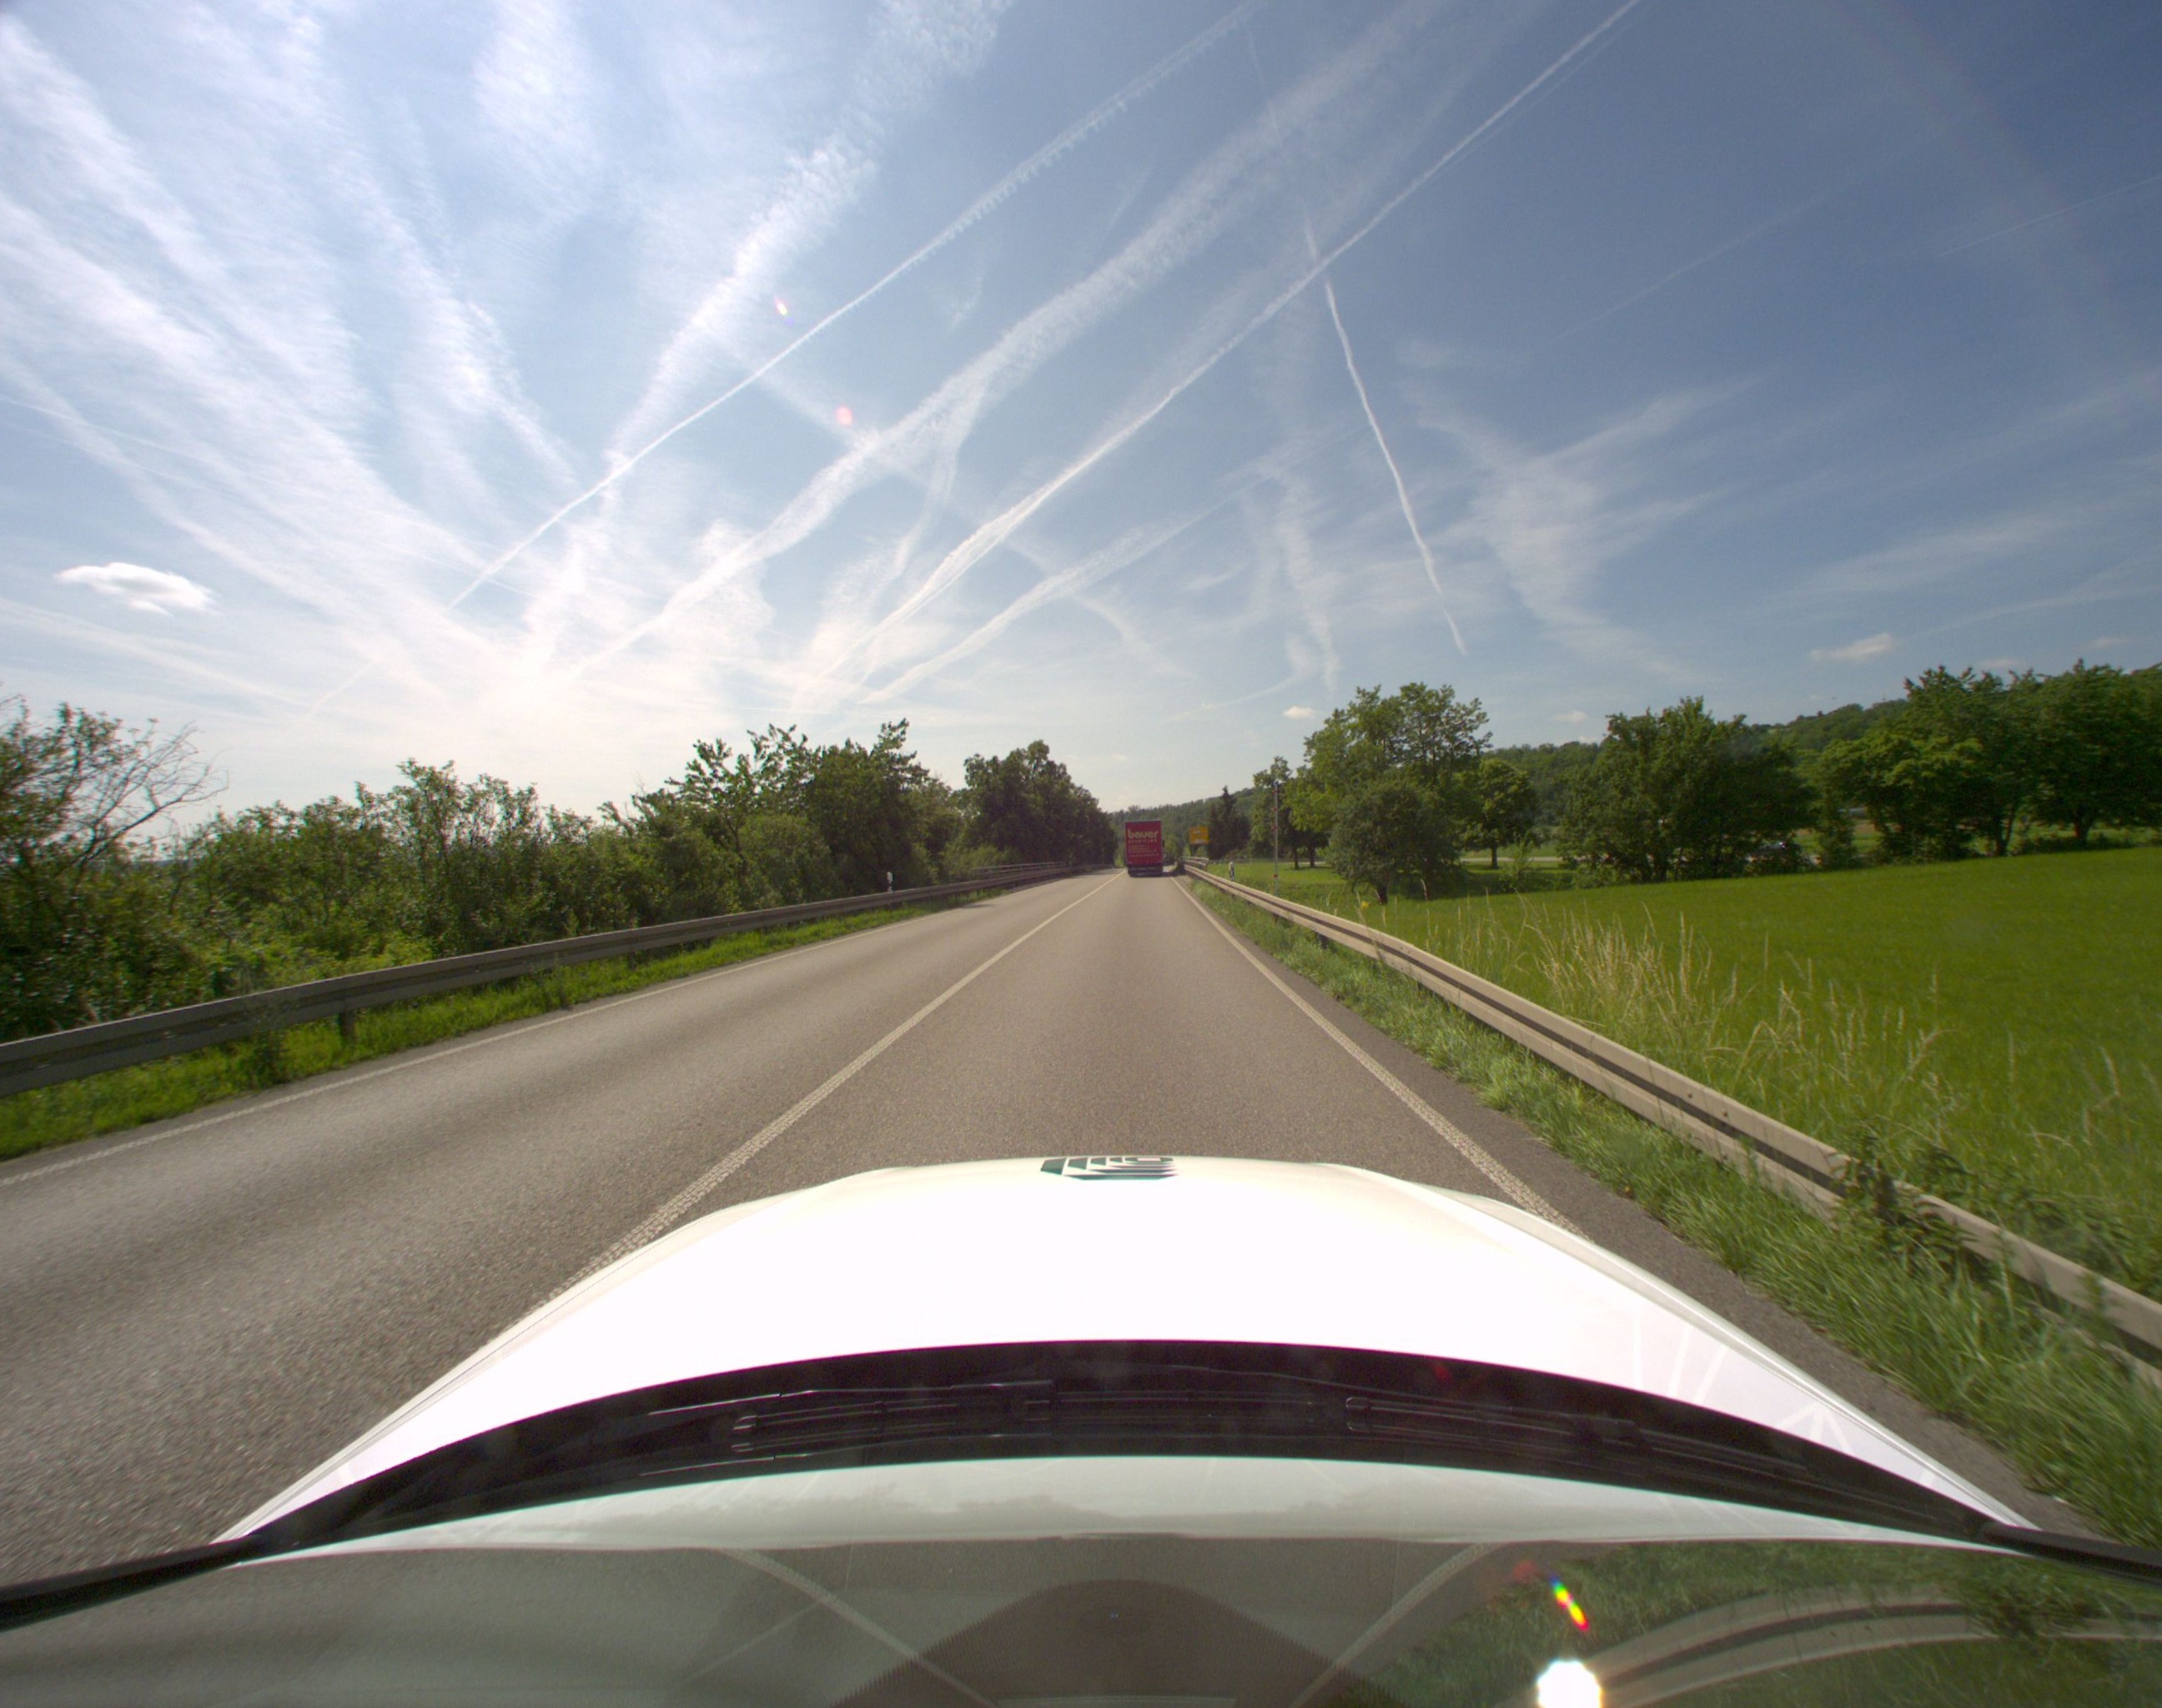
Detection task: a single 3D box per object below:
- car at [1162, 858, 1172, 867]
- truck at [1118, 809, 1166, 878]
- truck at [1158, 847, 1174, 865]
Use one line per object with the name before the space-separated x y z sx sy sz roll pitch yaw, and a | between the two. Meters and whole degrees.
car | 18.746 1.801 177.103 1.984 1.810 4.004 1 -2 5
truck | 4.908 -0.720 62.909 3.156 4.625 13.566 -3 0 6
truck | 21.832 0.572 208.273 3.884 4.370 13.316 0 -2 7
